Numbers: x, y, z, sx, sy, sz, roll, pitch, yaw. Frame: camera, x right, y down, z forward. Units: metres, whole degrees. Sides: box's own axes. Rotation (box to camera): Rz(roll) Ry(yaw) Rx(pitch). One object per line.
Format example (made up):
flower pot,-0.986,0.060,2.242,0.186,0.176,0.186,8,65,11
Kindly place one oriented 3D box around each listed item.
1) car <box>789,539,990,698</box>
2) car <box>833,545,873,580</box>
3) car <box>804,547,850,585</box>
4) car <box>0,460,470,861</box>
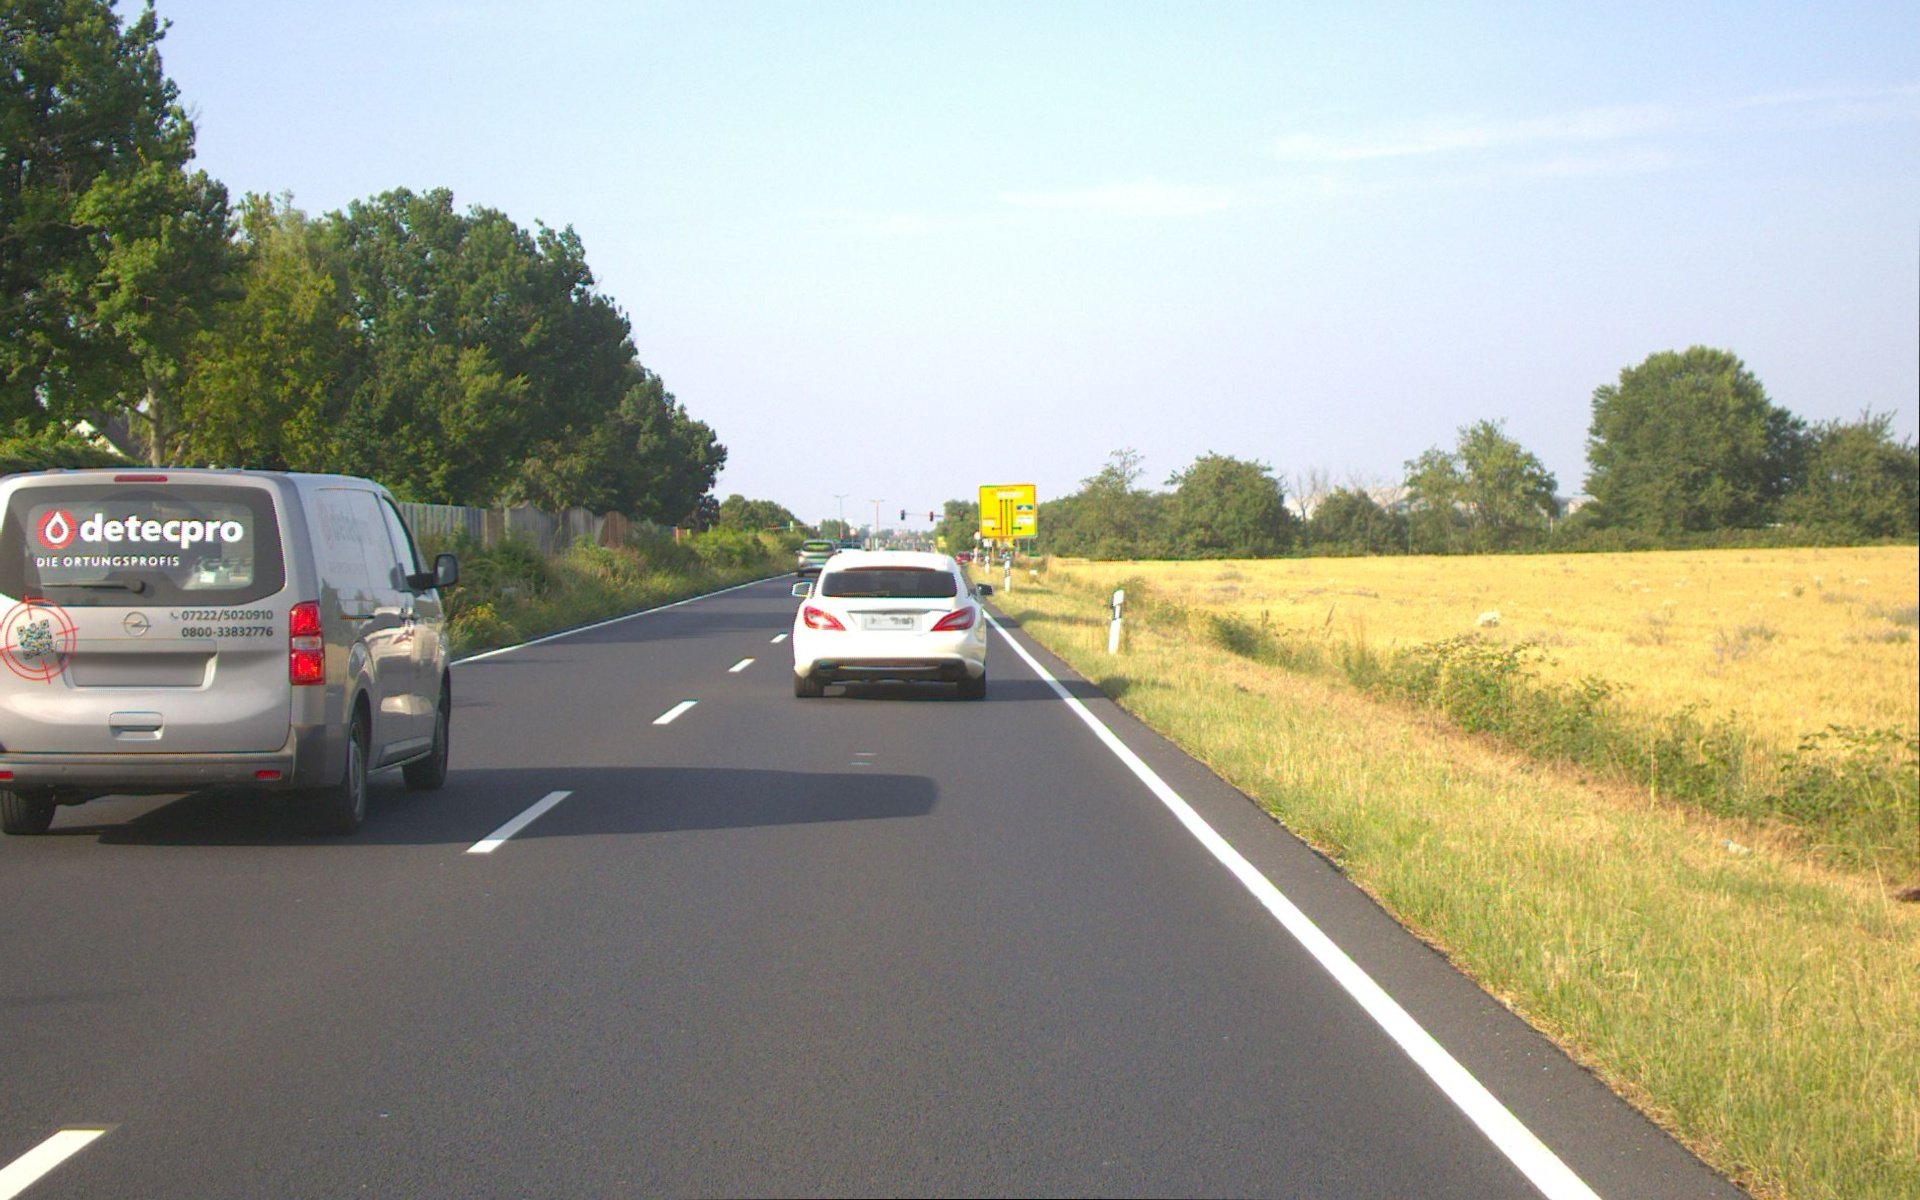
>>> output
car,-0.685,0.155,34.384,1.894,1.503,4.000,0,1,-1
car,-5.154,-1.800,165.137,1.877,1.645,3.664,1,1,-2
car,-5.380,-1.391,139.658,1.717,1.487,3.584,1,1,0
car,-4.072,0.236,18.831,2.025,1.885,4.958,1,1,0
